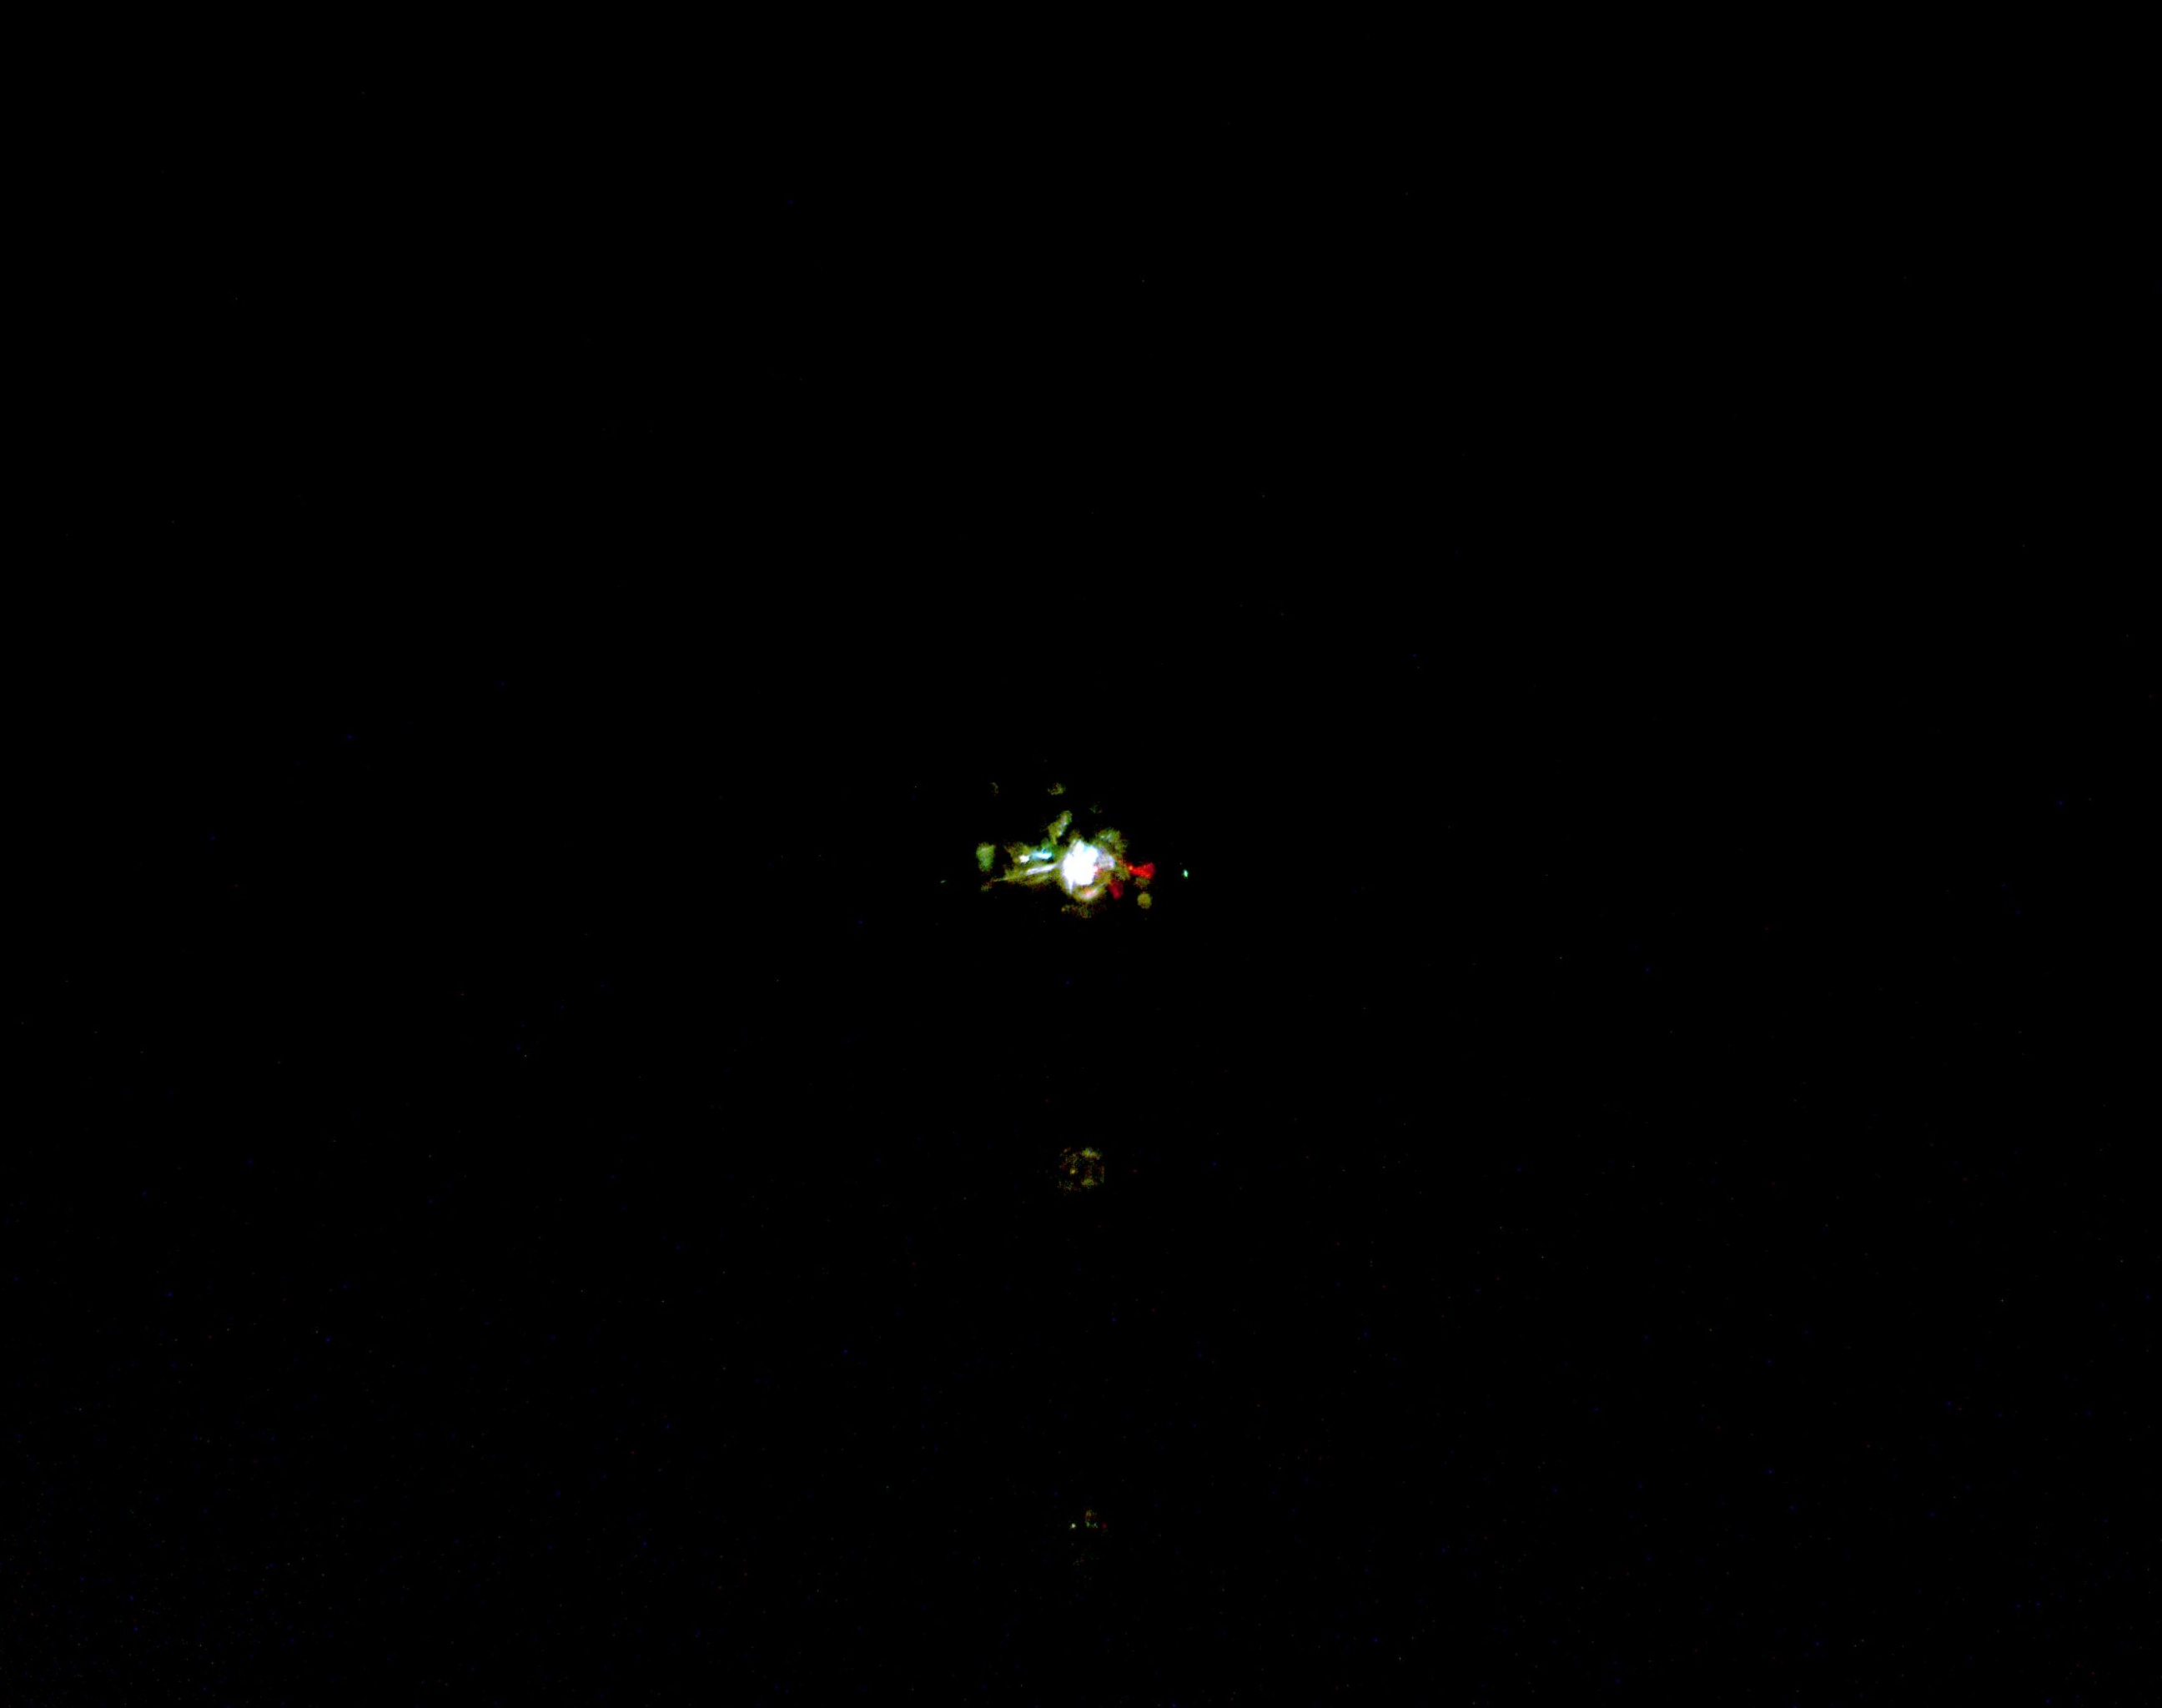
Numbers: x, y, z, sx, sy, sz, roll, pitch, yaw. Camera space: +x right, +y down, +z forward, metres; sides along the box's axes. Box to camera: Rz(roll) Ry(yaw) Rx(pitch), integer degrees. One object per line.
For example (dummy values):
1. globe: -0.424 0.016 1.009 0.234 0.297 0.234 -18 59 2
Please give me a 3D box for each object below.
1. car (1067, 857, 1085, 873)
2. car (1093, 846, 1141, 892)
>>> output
1. car: -0.547 1.182 89.985 1.632 1.581 3.737 -3 2 -6
2. car: 1.586 0.637 37.138 1.986 1.806 3.919 -3 2 1
